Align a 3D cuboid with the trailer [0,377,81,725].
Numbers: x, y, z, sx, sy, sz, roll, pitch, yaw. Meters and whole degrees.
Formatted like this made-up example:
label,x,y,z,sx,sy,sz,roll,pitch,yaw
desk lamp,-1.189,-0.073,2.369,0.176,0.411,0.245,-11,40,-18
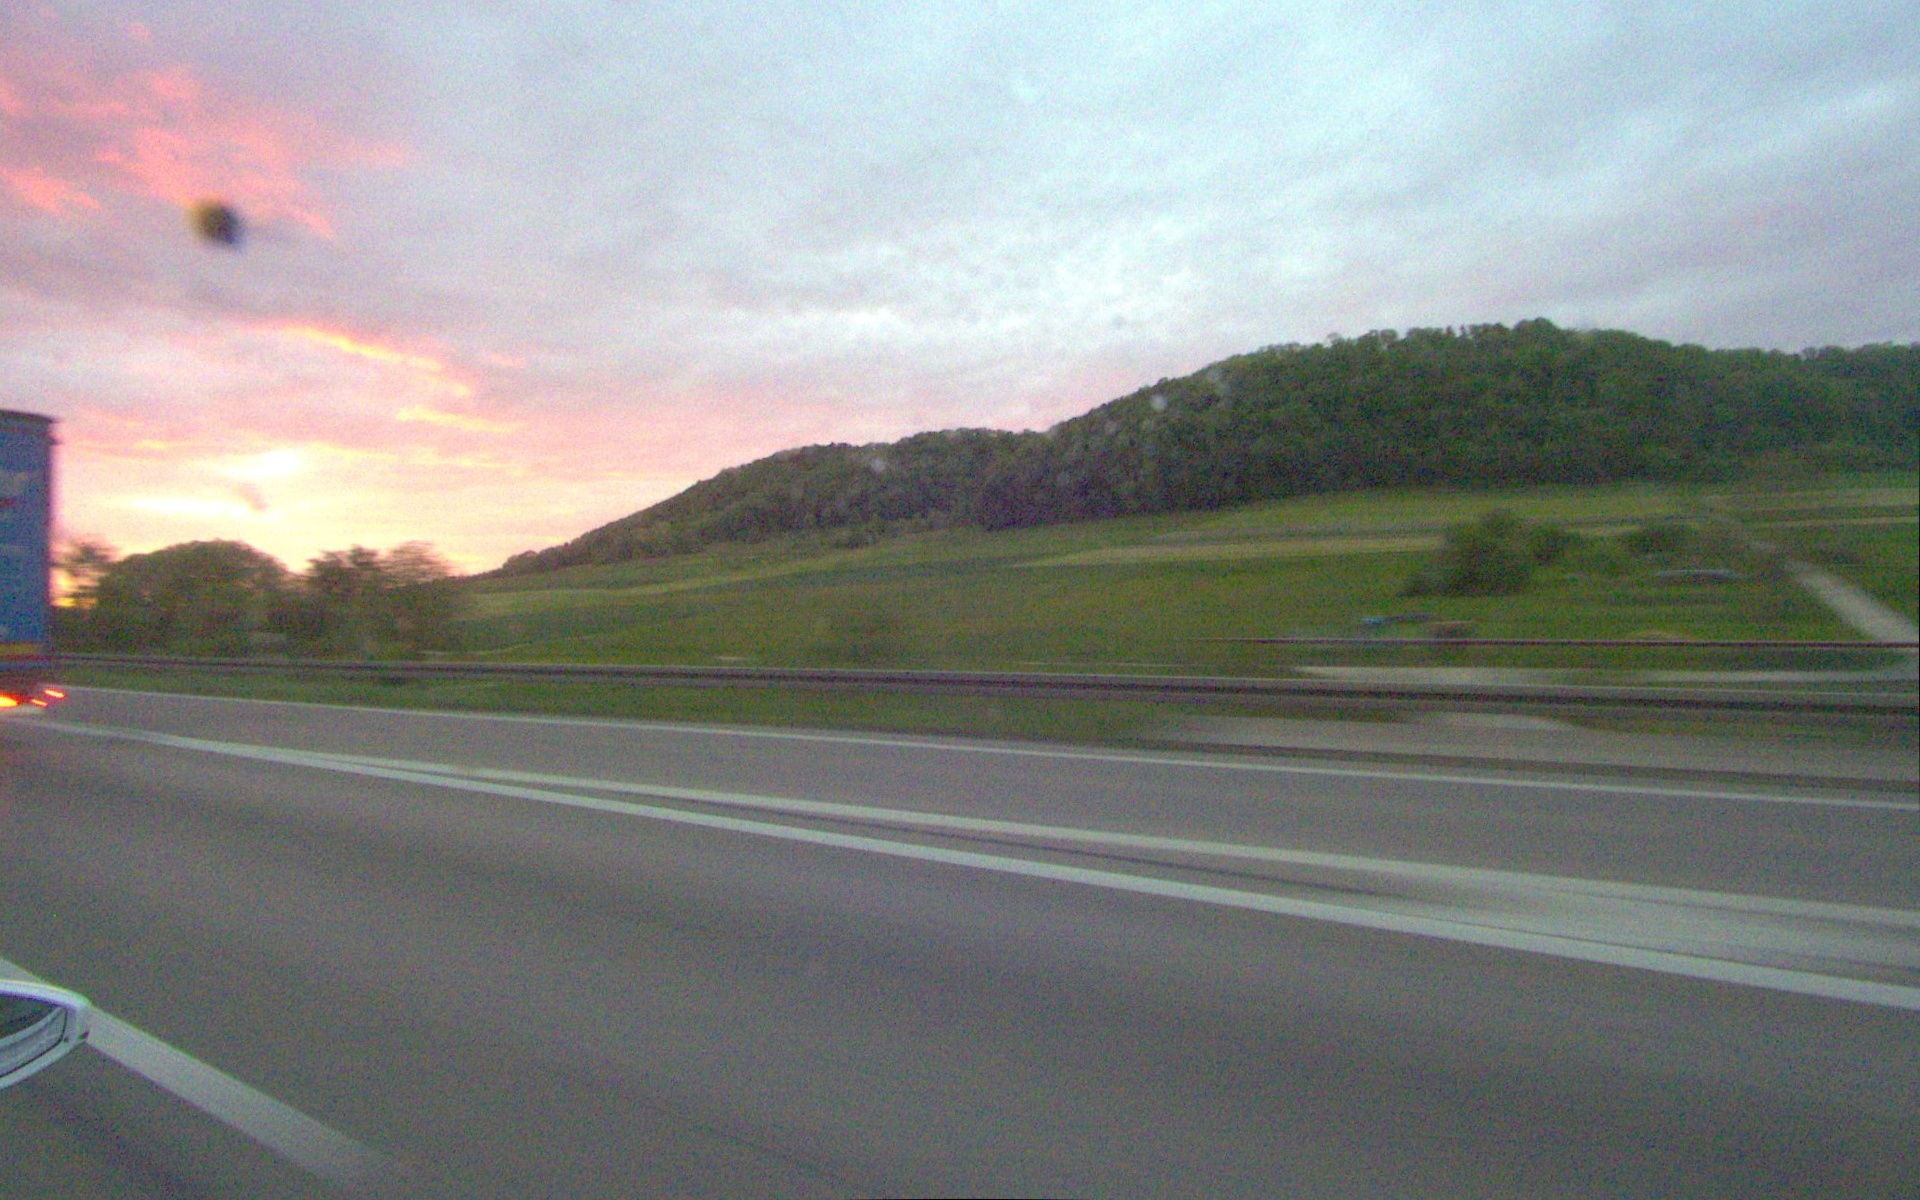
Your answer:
label,x,y,z,sx,sy,sz,roll,pitch,yaw
trailer,-17.450,-0.509,15.037,13.544,4.139,2.766,-1,-1,33
